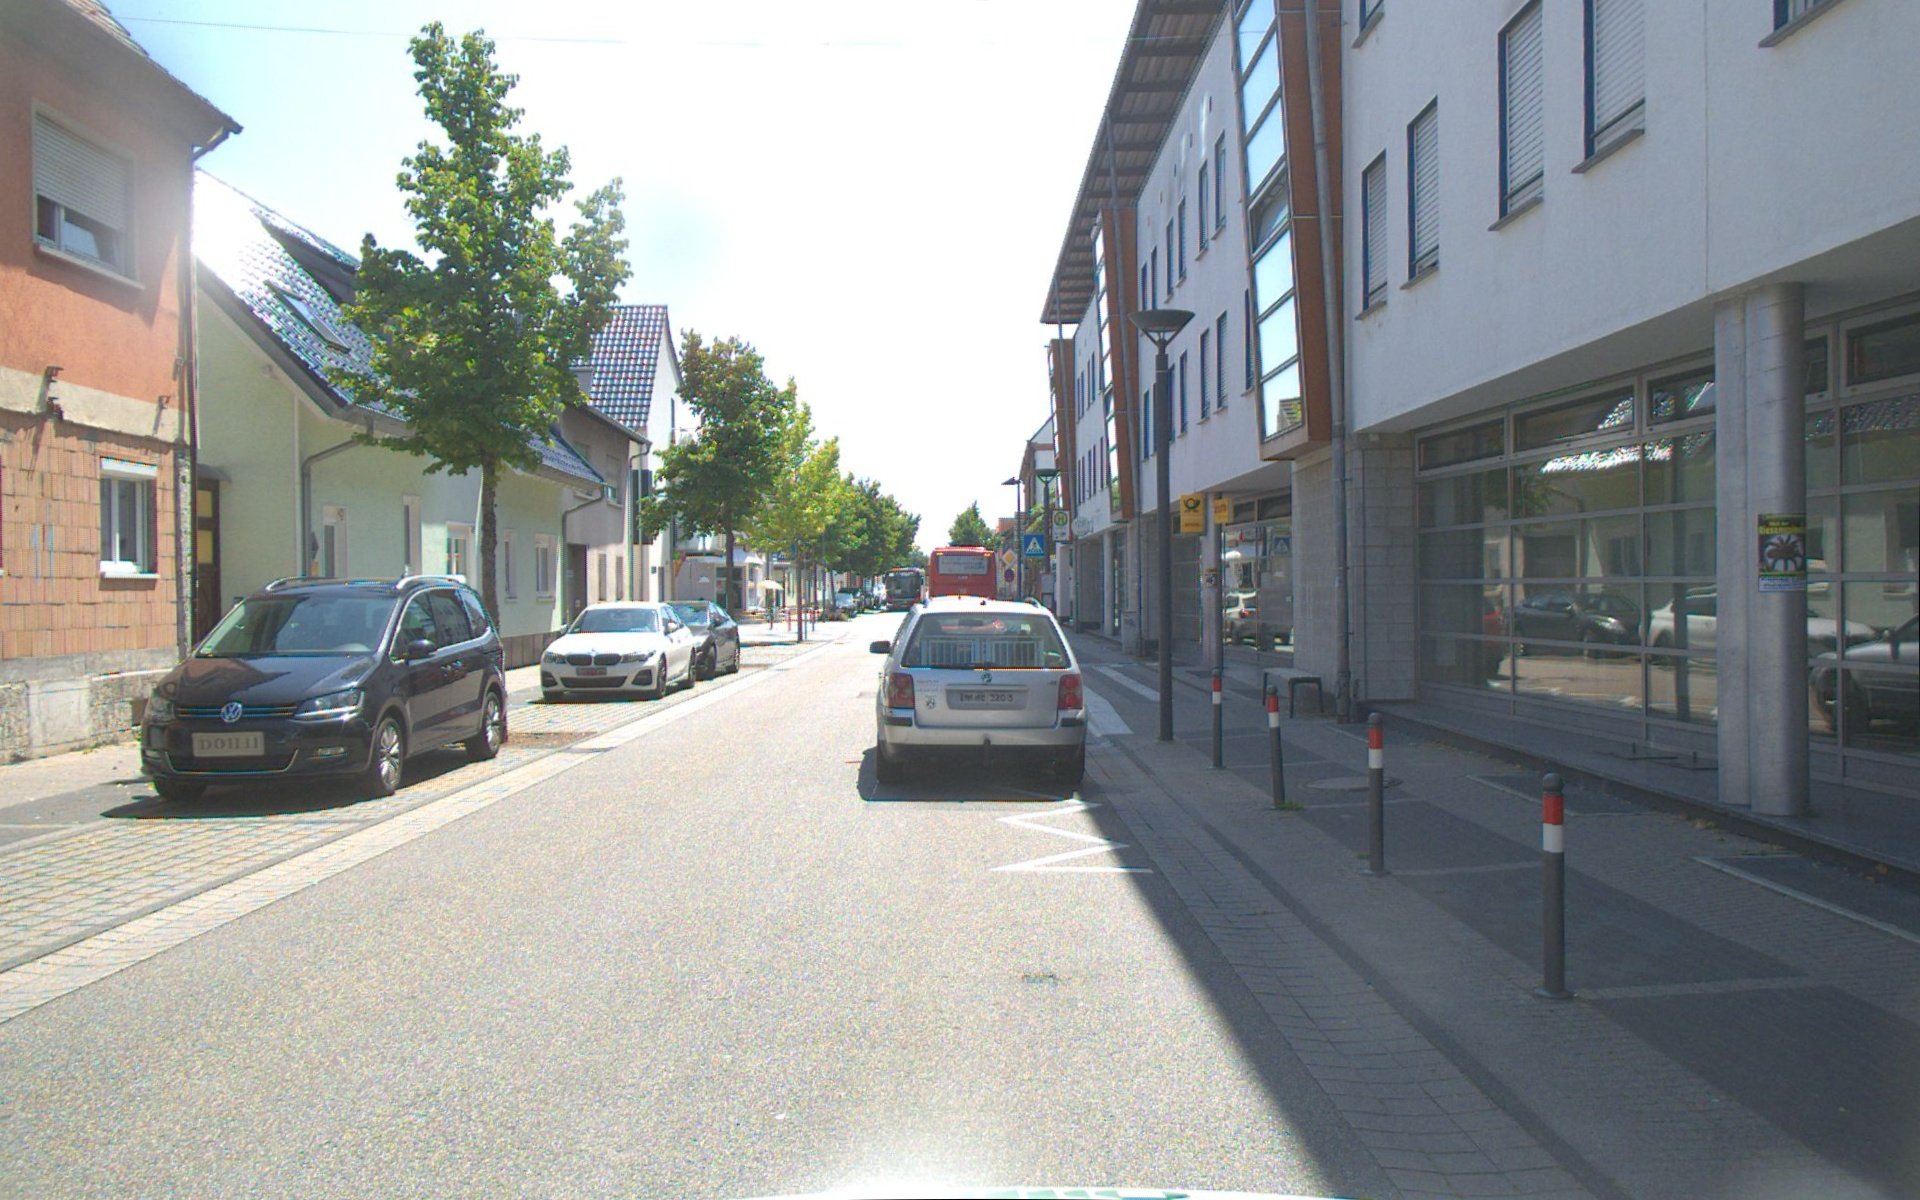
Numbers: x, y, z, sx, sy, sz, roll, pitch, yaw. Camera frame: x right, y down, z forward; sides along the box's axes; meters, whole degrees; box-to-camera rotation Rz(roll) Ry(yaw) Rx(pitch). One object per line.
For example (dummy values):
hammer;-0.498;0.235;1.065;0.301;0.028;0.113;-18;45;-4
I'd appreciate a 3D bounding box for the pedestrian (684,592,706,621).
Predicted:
pedestrian;-12.130;0.304;75.805;0.631;1.311;0.777;2;0;-44

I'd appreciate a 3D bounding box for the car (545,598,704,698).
car;-5.269;0.701;26.527;1.685;1.462;4.459;0;0;-1

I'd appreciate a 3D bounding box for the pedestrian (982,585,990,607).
pedestrian;1.993;-0.302;127.270;0.594;1.696;0.789;0;0;-2

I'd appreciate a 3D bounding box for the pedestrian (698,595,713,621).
pedestrian;-11.878;0.376;77.191;0.610;1.199;0.696;0;0;-5

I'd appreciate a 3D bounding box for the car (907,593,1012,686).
car;-0.029;0.617;28.156;1.643;1.455;3.679;1;0;-1

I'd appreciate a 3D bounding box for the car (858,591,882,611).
car;-7.278;0.067;133.822;1.774;1.586;3.999;0;0;-1

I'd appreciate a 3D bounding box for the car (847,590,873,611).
car;-7.721;0.052;127.654;1.774;1.586;3.999;0;0;-1

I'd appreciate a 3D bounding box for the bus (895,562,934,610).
bus;-3.571;-1.164;126.020;2.615;3.177;17.801;-1;2;-3

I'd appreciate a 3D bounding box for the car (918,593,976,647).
car;-0.341;0.542;47.364;1.561;1.455;3.679;1;0;0

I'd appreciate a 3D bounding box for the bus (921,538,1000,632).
bus;-0.120;-0.559;65.590;2.685;3.356;12.700;0;0;-2

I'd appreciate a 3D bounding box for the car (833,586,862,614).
car;-7.646;-0.006;112.516;1.729;1.870;3.788;0;0;-1

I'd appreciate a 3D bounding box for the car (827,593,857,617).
car;-7.158;0.293;100.655;1.572;1.463;4.064;0;0;-1

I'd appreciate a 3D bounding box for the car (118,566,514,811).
car;-5.281;0.629;14.264;1.739;1.756;4.518;-1;0;-2

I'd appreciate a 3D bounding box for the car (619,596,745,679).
car;-5.289;0.664;31.988;1.626;1.462;4.538;0;0;0

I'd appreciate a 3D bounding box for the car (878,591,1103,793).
car;0.212;0.681;14.240;1.643;1.455;3.679;2;0;-1
